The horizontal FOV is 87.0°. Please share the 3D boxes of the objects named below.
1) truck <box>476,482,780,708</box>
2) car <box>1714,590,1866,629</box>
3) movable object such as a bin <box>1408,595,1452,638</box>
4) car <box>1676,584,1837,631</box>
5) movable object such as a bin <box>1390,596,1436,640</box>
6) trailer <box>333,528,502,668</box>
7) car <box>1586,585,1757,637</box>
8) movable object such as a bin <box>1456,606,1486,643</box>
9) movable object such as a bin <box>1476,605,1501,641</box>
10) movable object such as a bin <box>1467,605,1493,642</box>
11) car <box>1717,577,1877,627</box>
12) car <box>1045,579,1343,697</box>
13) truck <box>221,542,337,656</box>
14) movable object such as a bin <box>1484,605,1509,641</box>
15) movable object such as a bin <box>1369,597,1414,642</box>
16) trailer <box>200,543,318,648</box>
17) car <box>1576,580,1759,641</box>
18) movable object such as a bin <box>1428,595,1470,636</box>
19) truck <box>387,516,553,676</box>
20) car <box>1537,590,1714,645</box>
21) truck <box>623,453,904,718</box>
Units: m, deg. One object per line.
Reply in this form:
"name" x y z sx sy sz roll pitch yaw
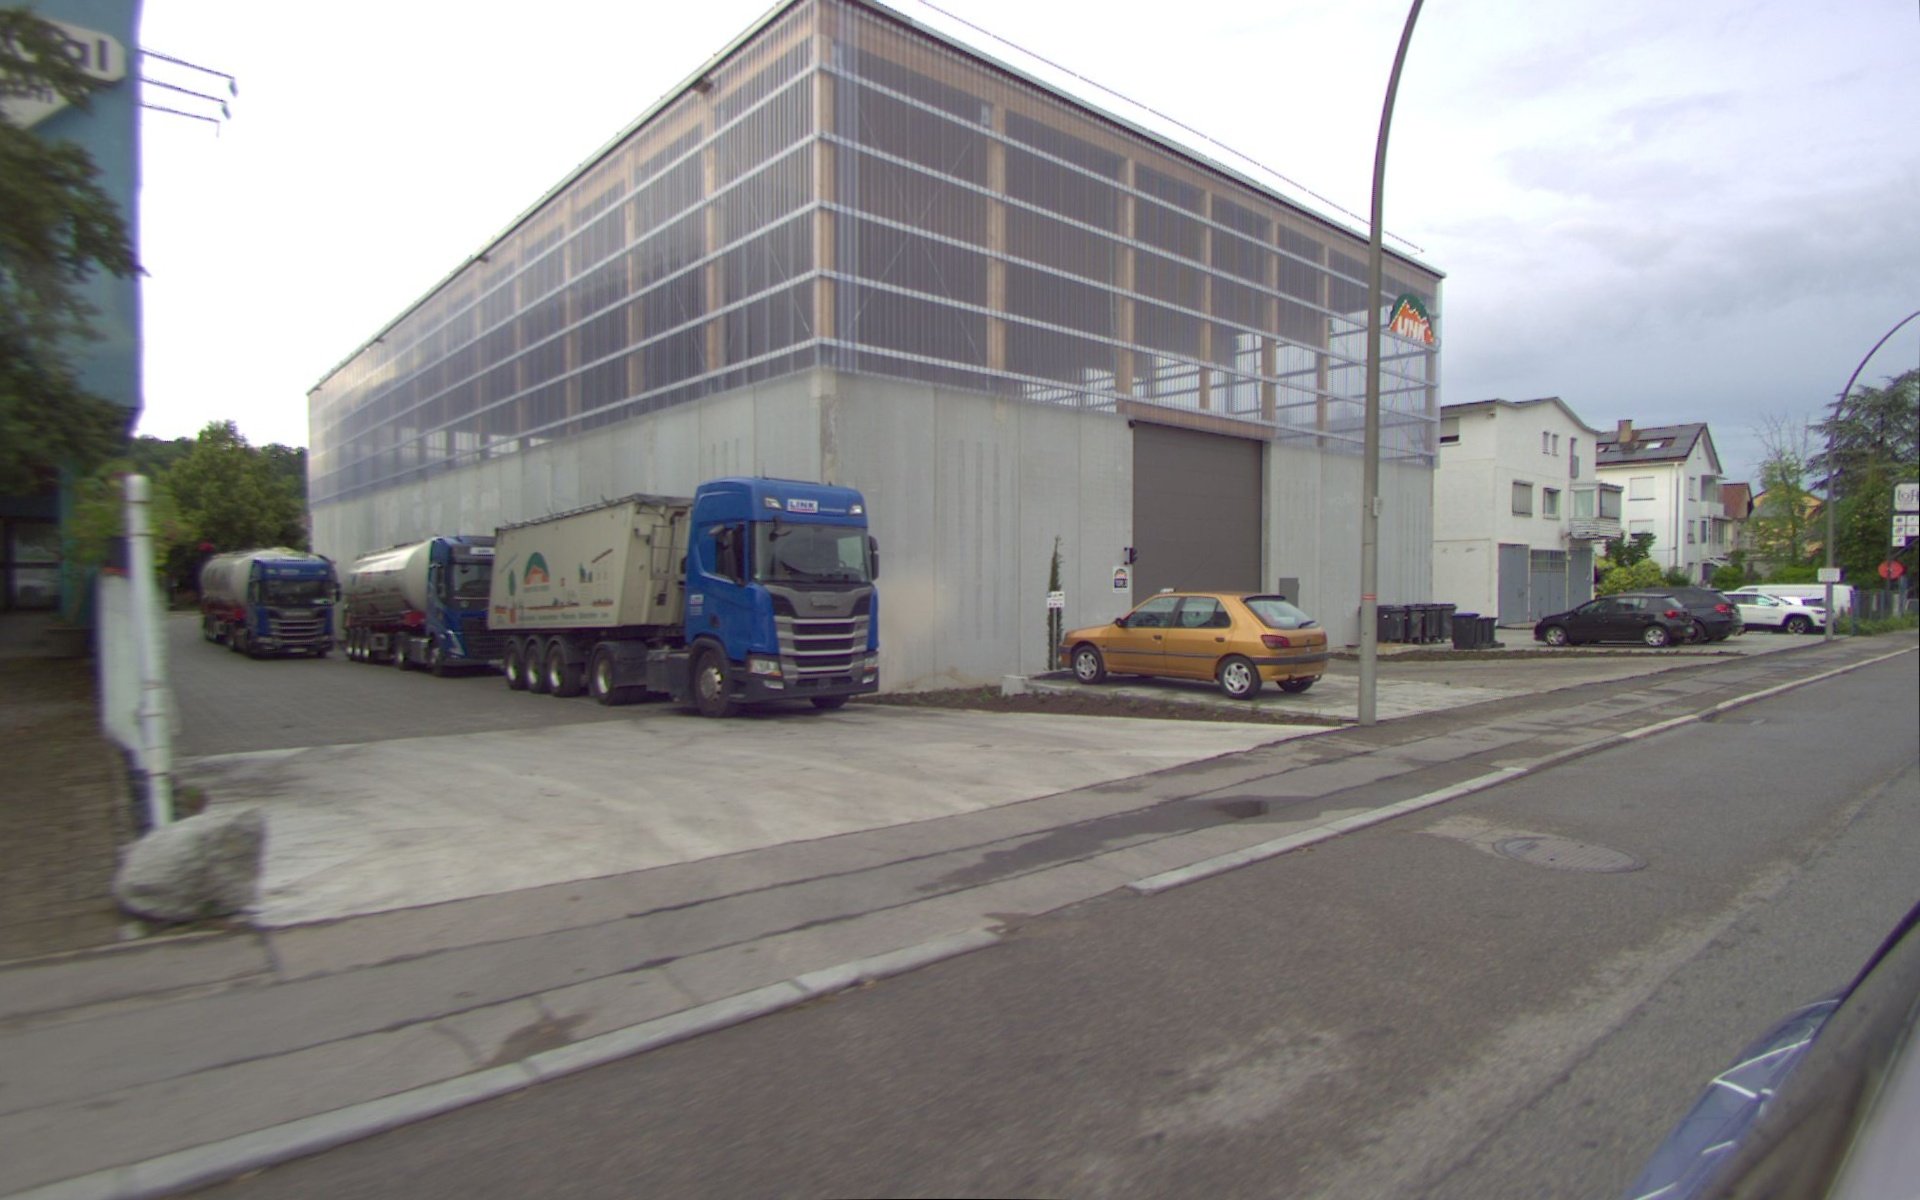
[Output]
"truck" -7.194 -0.060 20.872 2.676 3.754 8.543 -1 0 -42
"car" 31.980 0.333 39.076 1.818 1.396 4.326 -1 0 -41
"movable object such as a bin" 15.466 0.535 33.318 1.262 1.356 0.839 -1 0 -40
"car" 29.624 0.259 37.735 1.861 1.645 4.452 -1 0 -41
"movable object such as a bin" 14.515 0.562 32.408 1.298 1.356 0.839 -1 0 -40
"trailer" -17.943 -0.092 33.049 2.675 3.908 9.922 -1 1 -41
"car" 23.072 0.351 32.933 1.780 1.555 4.250 -1 0 -40
"movable object such as a bin" 15.015 0.713 29.739 0.633 1.068 0.575 -1 0 -40
"movable object such as a bin" 15.921 0.686 30.472 0.543 1.068 0.496 -1 0 -40
"movable object such as a bin" 15.482 0.694 30.105 0.534 1.068 0.513 -1 0 -40
"car" 33.742 0.056 40.897 1.965 1.910 4.740 -1 0 -40
"car" 3.223 0.436 14.527 1.603 1.448 3.992 0 1 -42
"truck" -25.612 -0.128 37.959 2.928 3.951 5.778 -1 2 -41
"movable object such as a bin" 16.331 0.697 30.815 0.496 1.068 0.518 -1 0 -40
"movable object such as a bin" 13.488 0.593 31.601 1.192 1.356 0.839 -1 0 -40
"trailer" -29.561 -0.311 42.485 3.020 3.969 9.348 -1 2 -41
"car" 21.471 0.285 30.844 1.946 1.696 4.233 -1 0 -41
"movable object such as a bin" 16.553 0.516 34.255 1.307 1.356 0.839 -1 0 -40
"truck" -13.820 -0.079 28.282 2.673 3.971 6.087 -1 0 -41
"car" 19.328 0.467 29.526 1.800 1.509 3.974 0 0 -39
"truck" -3.320 -0.148 16.602 2.675 3.721 4.147 -1 -2 -43
